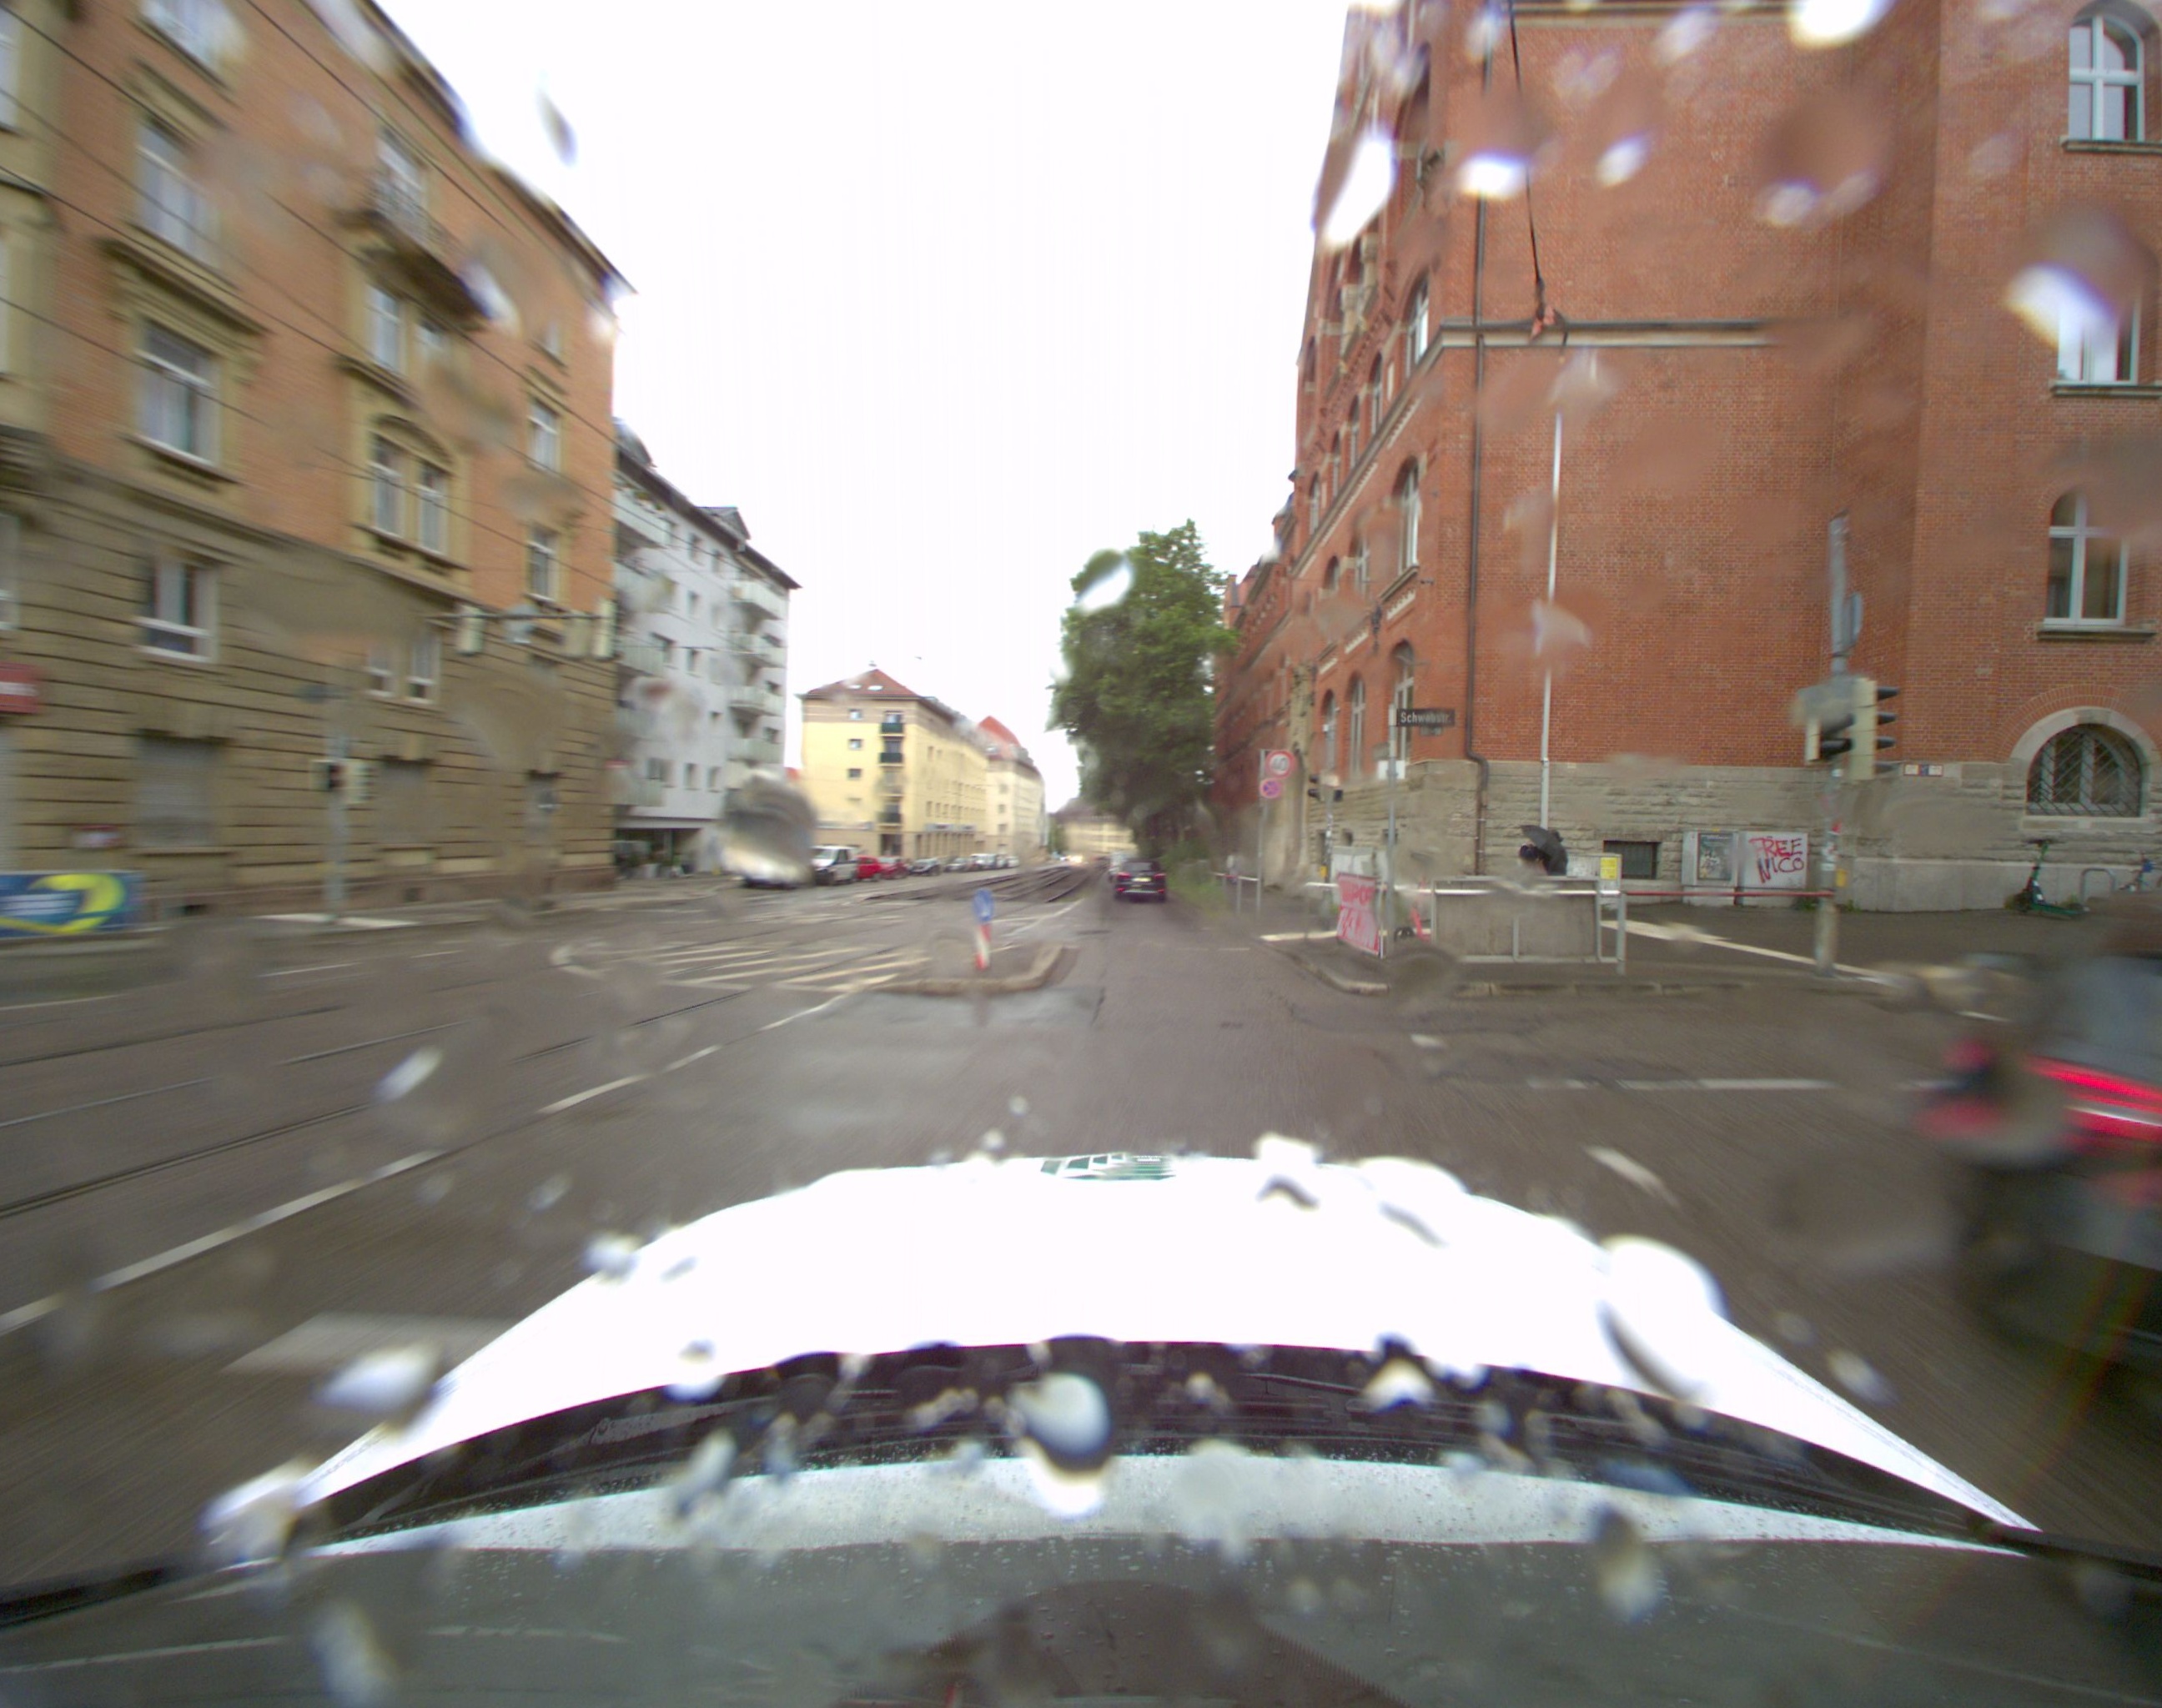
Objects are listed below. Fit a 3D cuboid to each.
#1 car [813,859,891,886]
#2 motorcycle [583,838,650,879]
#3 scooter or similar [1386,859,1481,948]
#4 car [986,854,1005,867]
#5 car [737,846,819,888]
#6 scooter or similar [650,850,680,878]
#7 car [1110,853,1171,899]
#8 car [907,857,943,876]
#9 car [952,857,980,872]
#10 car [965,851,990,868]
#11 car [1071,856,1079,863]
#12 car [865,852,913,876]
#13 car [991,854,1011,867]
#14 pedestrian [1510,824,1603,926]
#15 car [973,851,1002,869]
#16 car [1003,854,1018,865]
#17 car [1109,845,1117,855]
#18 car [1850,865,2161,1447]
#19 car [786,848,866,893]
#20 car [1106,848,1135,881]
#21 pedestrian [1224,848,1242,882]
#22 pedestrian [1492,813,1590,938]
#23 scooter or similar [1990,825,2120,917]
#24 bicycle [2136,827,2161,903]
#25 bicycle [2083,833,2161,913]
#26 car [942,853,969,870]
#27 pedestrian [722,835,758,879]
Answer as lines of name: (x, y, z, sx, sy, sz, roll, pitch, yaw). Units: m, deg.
car: (-13.038, 1.033, 46.525, 1.763, 1.434, 4.007, 1, -1, 37)
motorcycle: (-18.100, 0.173, 31.809, 0.926, 1.375, 2.311, 13, 0, 3)
scooter or similar: (5.173, 0.701, 11.962, 1.235, 1.250, 0.641, -1, -1, 24)
car: (-10.252, 0.789, 97.371, 1.685, 1.439, 4.051, 0, 0, 2)
car: (-13.102, 0.538, 35.459, 1.726, 1.651, 4.366, 1, 0, 2)
scooter or similar: (-18.690, 0.436, 36.603, 1.088, 1.209, 0.316, -2, 0, -9)
car: (2.036, 0.740, 28.910, 1.926, 1.453, 4.319, 2, -1, 2)
car: (-11.763, 0.950, 61.701, 1.673, 1.396, 4.624, 1, 0, 2)
car: (-11.374, 1.050, 80.940, 1.843, 1.432, 4.835, 2, 0, 3)
car: (-10.957, 0.554, 86.526, 1.859, 1.717, 4.464, 1, -1, 3)
car: (-1.408, 1.317, 196.385, 1.704, 1.462, 4.284, 0, 0, 4)
car: (-12.314, 0.656, 52.517, 1.645, 1.451, 4.081, 1, -1, 7)
car: (-10.004, 0.771, 102.187, 1.806, 1.499, 4.585, 2, 0, 3)
pedestrian: (7.921, 0.338, 13.621, 0.954, 1.625, 1.074, -1, 0, 2)
car: (-10.577, 0.659, 92.403, 1.983, 1.905, 5.469, 2, 0, 6)
car: (-9.637, 0.791, 110.914, 1.699, 1.396, 3.934, 2, 0, -1)
car: (8.437, -1.052, 216.922, 1.985, 2.452, 6.003, 1, -1, 3)
car: (4.421, 0.767, 2.990, 4.019, 1.375, 1.779, 0, 1, -39)
car: (-12.965, 0.774, 41.767, 2.061, 2.009, 5.305, 4, 0, 3)
car: (2.443, 0.650, 51.273, 1.734, 2.014, 3.904, 1, -1, 1)
pedestrian: (7.490, 0.535, 40.156, 0.819, 1.678, 0.861, 1, -1, 5)
pedestrian: (7.238, 0.322, 12.879, 0.954, 1.887, 1.074, -1, 0, 2)
scooter or similar: (15.893, 0.263, 13.340, 0.406, 1.419, 1.519, 0, 0, 4)
bicycle: (18.455, 0.258, 13.178, 0.342, 1.244, 1.842, -2, 5, 2)
bicycle: (17.453, 0.316, 13.176, 0.411, 1.202, 1.668, -2, 4, 2)
car: (-11.554, 0.683, 75.096, 1.847, 1.508, 4.987, 1, 0, -2)
pedestrian: (-15.655, 0.134, 37.453, 1.170, 1.929, 1.176, 1, 0, -5)
